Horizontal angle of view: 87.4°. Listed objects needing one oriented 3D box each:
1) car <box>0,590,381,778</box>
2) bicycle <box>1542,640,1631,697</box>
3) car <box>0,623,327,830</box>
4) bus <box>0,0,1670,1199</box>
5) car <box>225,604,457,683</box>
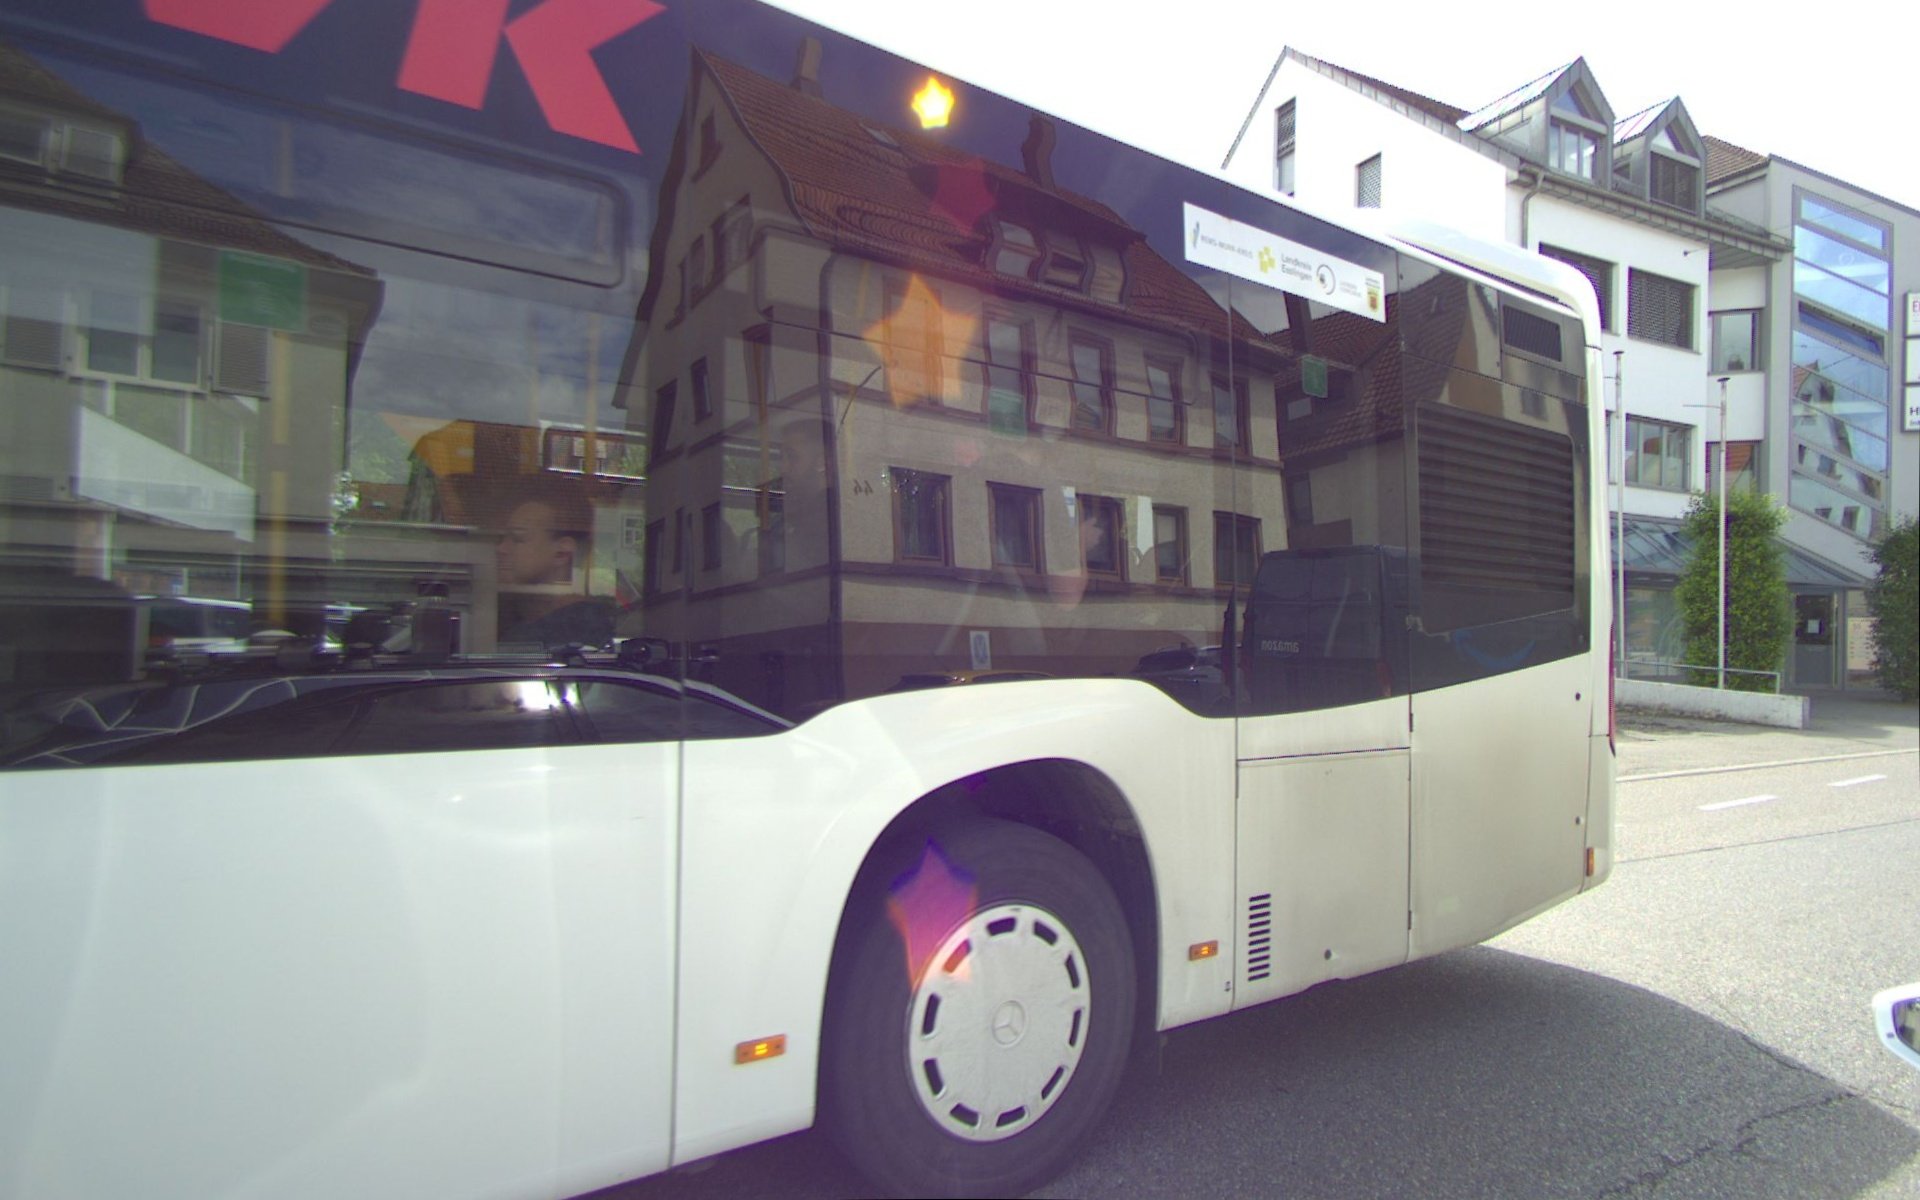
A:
[{"bbox_3d":[-8.563,0.794,9.748,4.859,1.640,1.947,1,-4,-23],"label":"car"},{"bbox_3d":[12.666,1.362,20.296,1.978,1.109,0.628,1,-1,-28],"label":"bicycle"},{"bbox_3d":[-7.583,0.860,7.301,4.791,1.376,1.945,1,-1,-26],"label":"car"},{"bbox_3d":[-0.952,-0.089,3.336,7.982,3.205,2.700,2,-2,-33],"label":"bus"},{"bbox_3d":[-16.388,1.149,26.954,5.017,1.967,1.963,1,-1,-24],"label":"car"}]
